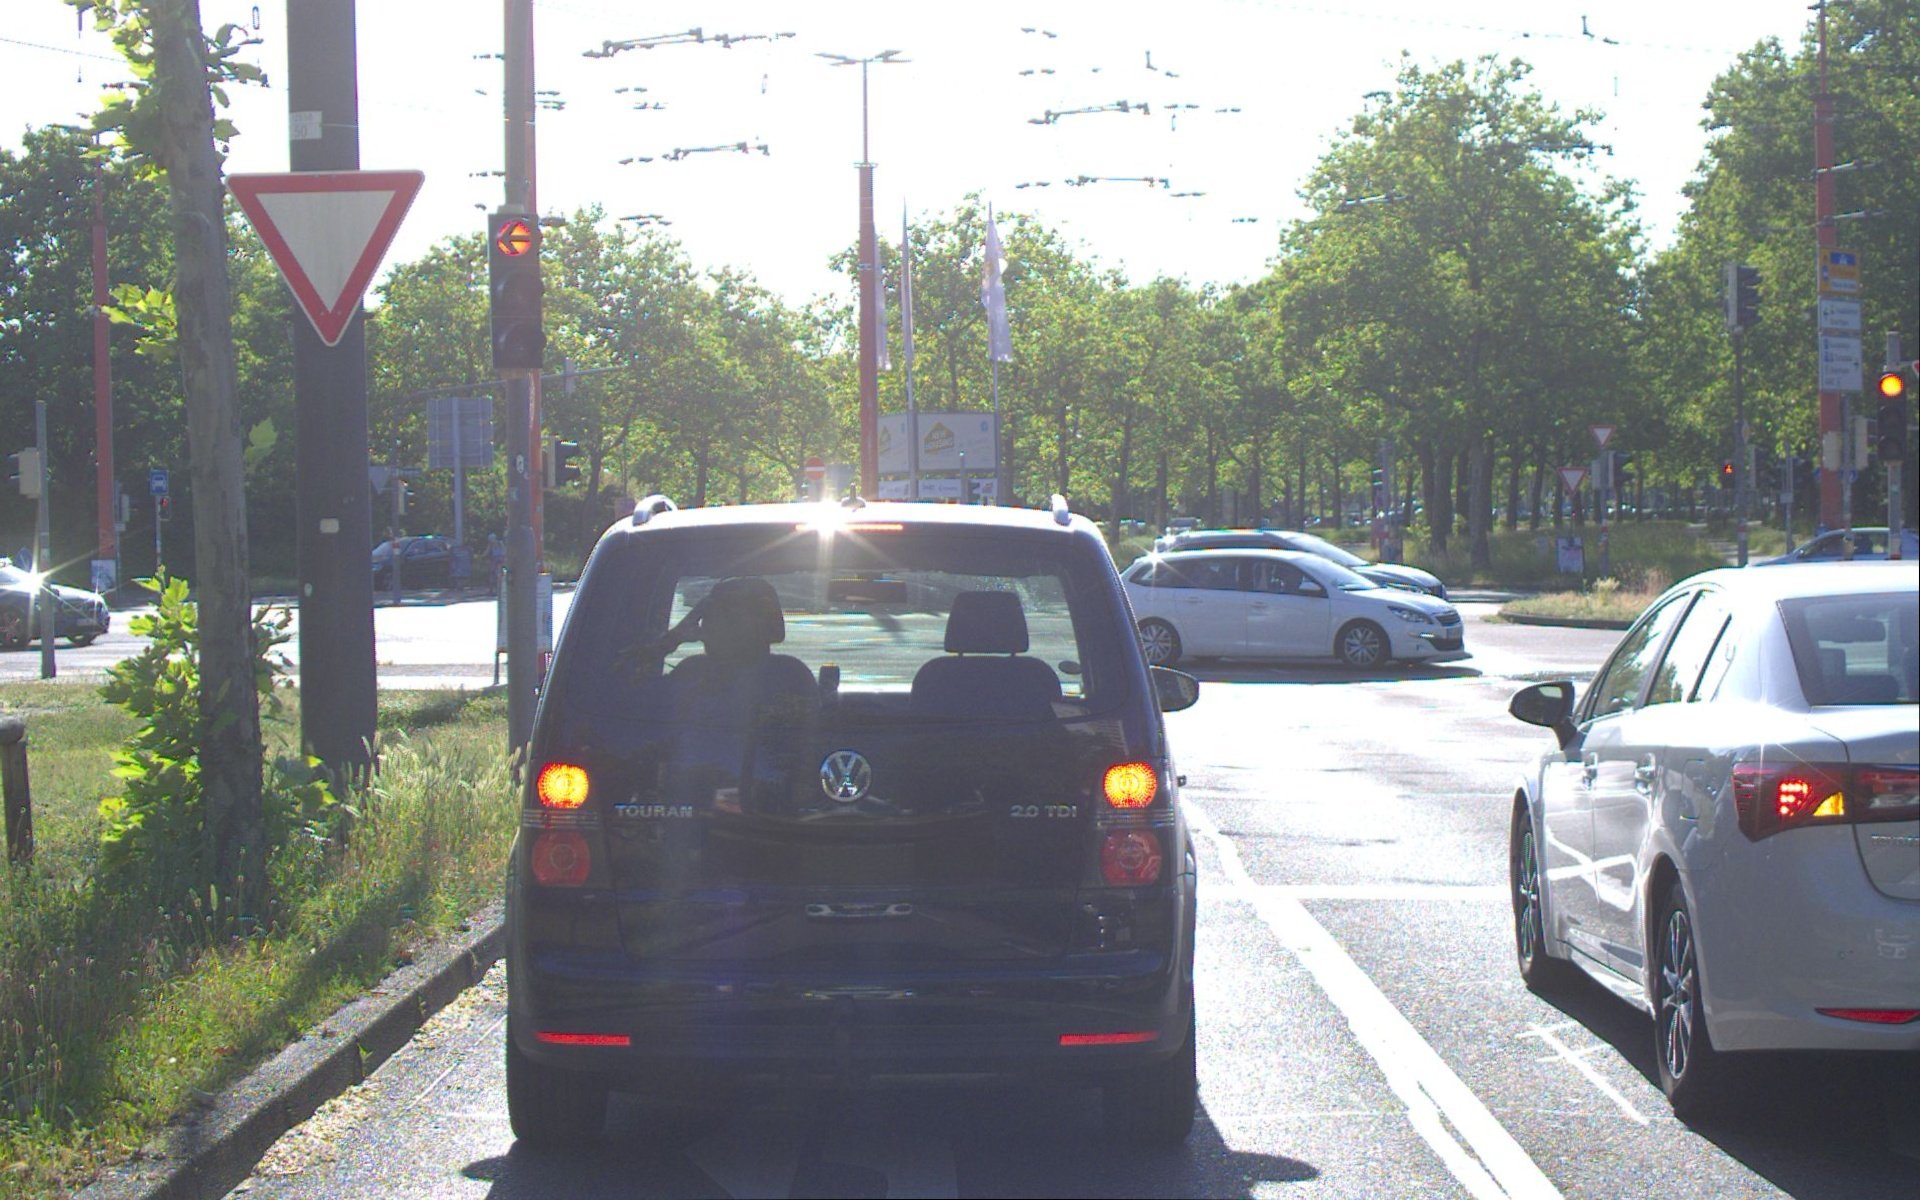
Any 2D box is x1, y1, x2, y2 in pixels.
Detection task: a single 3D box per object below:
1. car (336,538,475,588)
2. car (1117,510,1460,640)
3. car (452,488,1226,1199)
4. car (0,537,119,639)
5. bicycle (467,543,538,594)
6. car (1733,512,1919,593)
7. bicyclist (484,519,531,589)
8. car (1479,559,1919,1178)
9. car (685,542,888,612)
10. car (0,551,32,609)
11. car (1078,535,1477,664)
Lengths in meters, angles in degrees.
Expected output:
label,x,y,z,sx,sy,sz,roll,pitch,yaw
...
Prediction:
label,x,y,z,sx,sy,sz,roll,pitch,yaw
car,-16.402,-1.100,101.887,1.655,1.452,3.917,1,1,41
car,4.412,-0.361,46.426,4.335,1.686,1.654,1,1,32
car,-0.257,0.534,9.978,1.738,1.597,4.326,1,1,1
car,-16.417,-0.239,57.521,4.636,1.641,1.753,1,1,30
bicycle,-12.551,-0.875,94.364,0.977,1.384,2.978,0,1,12
car,16.813,-0.914,65.458,3.797,1.505,1.654,1,1,28
bicyclist,-12.473,-1.267,94.726,0.977,1.897,1.050,0,1,12
car,2.753,0.615,10.157,1.799,1.435,4.326,1,1,1
car,-3.798,-0.522,75.421,4.140,1.505,1.655,1,1,22
car,-25.755,-0.535,87.628,3.919,1.452,1.654,1,1,26
car,3.908,-0.040,42.527,4.629,1.514,1.654,1,1,27
